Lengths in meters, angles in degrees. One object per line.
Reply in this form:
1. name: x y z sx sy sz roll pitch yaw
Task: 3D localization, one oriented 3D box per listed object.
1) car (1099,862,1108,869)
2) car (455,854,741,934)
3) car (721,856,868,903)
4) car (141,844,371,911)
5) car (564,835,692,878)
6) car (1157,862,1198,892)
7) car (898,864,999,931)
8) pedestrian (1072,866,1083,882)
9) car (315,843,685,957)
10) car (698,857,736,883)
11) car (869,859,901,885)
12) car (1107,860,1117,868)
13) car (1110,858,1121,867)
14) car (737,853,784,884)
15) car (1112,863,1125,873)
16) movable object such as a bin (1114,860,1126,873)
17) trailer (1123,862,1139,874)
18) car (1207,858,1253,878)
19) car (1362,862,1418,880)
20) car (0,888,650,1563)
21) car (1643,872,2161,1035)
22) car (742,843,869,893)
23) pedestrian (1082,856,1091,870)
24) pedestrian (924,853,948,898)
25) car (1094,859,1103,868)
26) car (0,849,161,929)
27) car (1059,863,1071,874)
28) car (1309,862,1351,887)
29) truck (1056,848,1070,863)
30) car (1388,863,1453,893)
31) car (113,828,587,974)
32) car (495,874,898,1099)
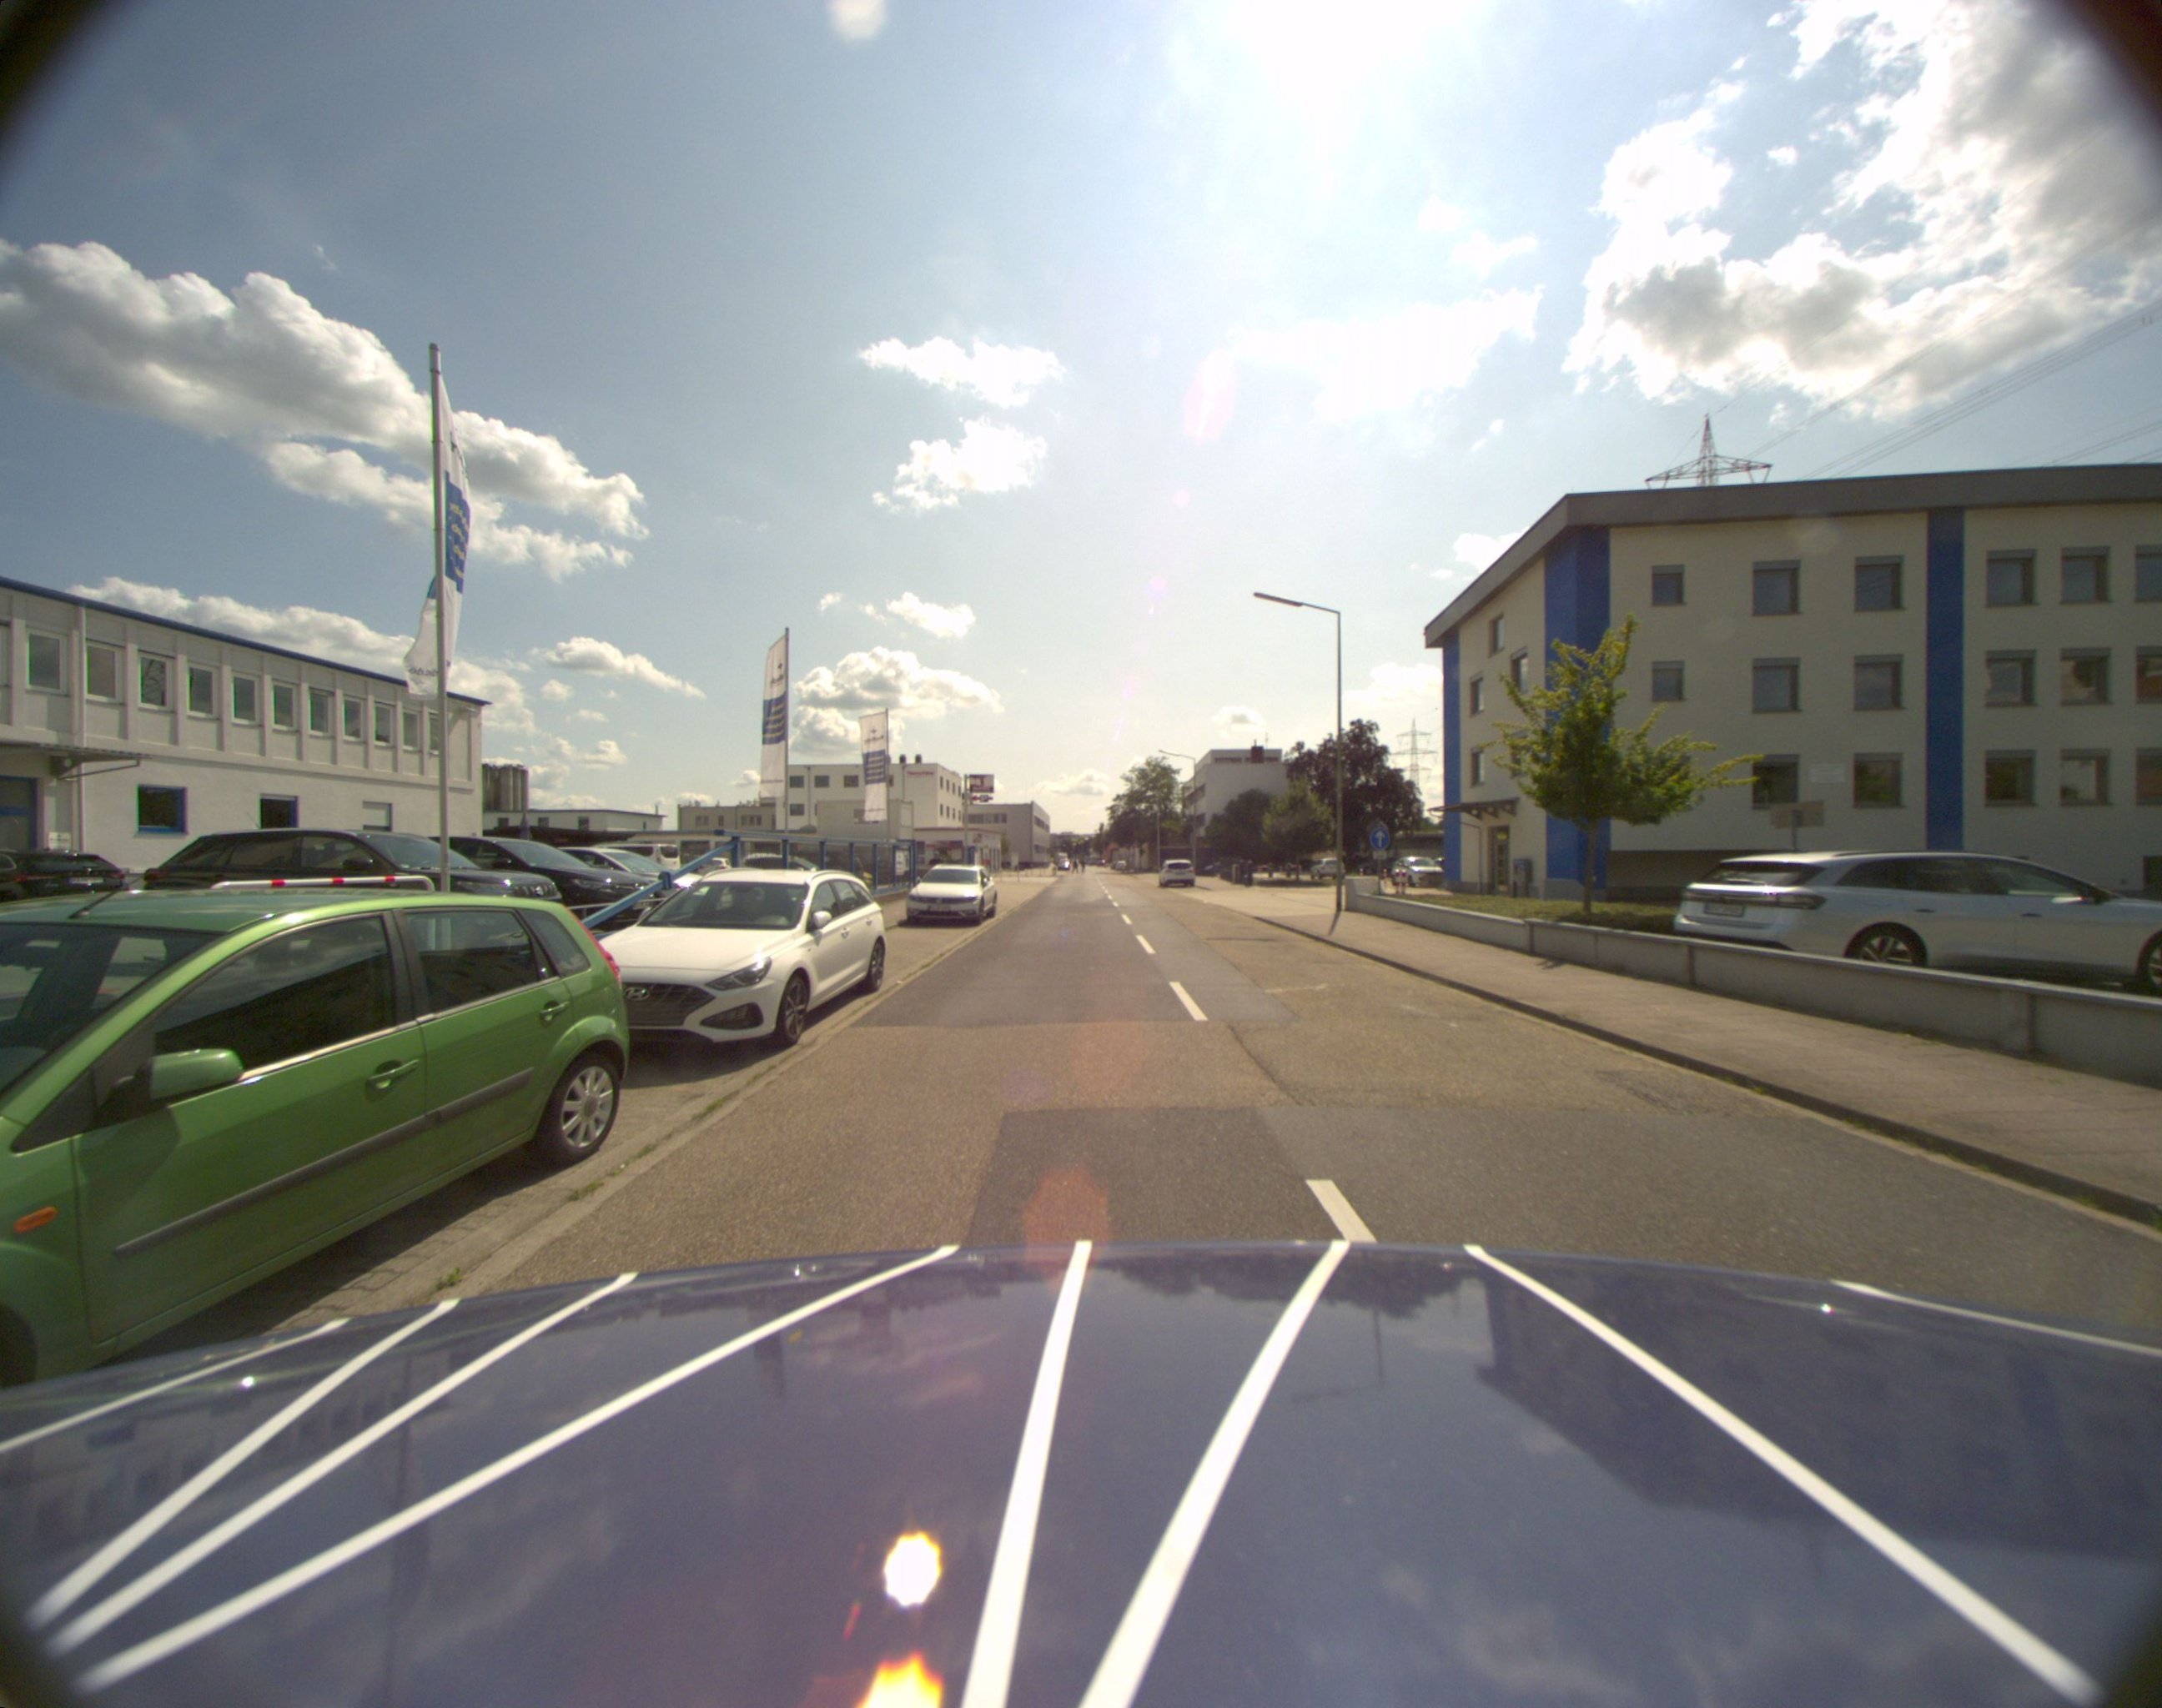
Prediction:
1. car: 5.316 2.679 179.857 1.714 1.459 4.629 -3 0 -1
2. car: -9.223 0.727 14.782 4.290 1.411 2.000 1 0 1
3. car: -9.245 0.811 24.786 3.997 1.411 2.000 1 0 1
4. car: -21.760 0.599 20.169 3.997 1.691 1.935 0 0 0
5. car: -21.230 0.123 35.763 4.690 1.925 2.276 -1 0 2
6. car: 5.920 1.393 47.053 1.872 1.698 4.753 -1 0 0
7. car: -3.375 1.068 20.285 1.872 1.511 4.597 -1 0 0
8. pedestrian: -0.457 2.481 95.590 0.994 1.940 1.089 0 0 -22
9. car: -9.017 0.676 12.151 4.237 1.637 2.148 0 0 -1
10. car: -22.494 0.981 47.031 1.558 1.513 3.994 0 0 -18
11. car: -11.622 1.018 45.167 1.747 1.433 3.828 0 0 -13
12. car: 5.817 1.842 141.513 1.677 1.447 4.223 -2 0 0
13. car: 5.972 1.422 131.387 1.677 1.447 4.223 -2 0 0
14. car: -19.577 0.842 46.536 1.693 1.796 4.275 0 0 -9
15. car: 5.825 2.218 118.449 1.677 1.447 4.514 -2 0 1
16. movable object such as a bin: 6.358 2.074 124.923 1.618 1.907 5.138 -4 0 0
17. trailer: 6.741 1.863 102.388 1.771 1.430 4.336 -3 0 1
18. car: 13.143 1.245 67.136 3.657 1.698 1.879 0 0 0
19. car: 26.864 1.432 66.174 4.207 1.493 1.681 0 0 5
20. car: -3.445 0.965 2.540 1.673 1.511 3.995 -1 0 1
21. car: 9.627 1.044 8.778 4.766 1.593 2.000 -1 0 1
22. car: -9.710 0.489 26.970 3.816 1.670 1.791 -1 0 0
23. pedestrian: 0.720 1.162 95.528 0.860 1.797 1.003 0 0 -22
24. pedestrian: -5.757 0.848 30.209 0.771 1.746 0.787 2 1 0
25. car: 4.783 2.587 211.591 2.079 2.527 5.823 -3 0 -2
26. car: -21.720 0.669 15.314 3.997 1.499 1.934 0 0 0
27. car: -2.428 2.288 117.951 1.663 1.548 4.178 -3 0 1
28. car: 17.593 1.393 53.897 1.828 1.627 4.847 0 0 5
29. truck: -4.262 0.373 179.502 2.608 3.207 8.074 -3 0 -5
30. car: 17.693 1.217 39.782 1.877 1.498 3.759 0 0 3
31. car: -9.042 0.545 9.735 4.094 1.676 2.000 0 0 -1
32. car: -3.351 1.028 7.798 1.840 1.511 4.461 -1 0 0
